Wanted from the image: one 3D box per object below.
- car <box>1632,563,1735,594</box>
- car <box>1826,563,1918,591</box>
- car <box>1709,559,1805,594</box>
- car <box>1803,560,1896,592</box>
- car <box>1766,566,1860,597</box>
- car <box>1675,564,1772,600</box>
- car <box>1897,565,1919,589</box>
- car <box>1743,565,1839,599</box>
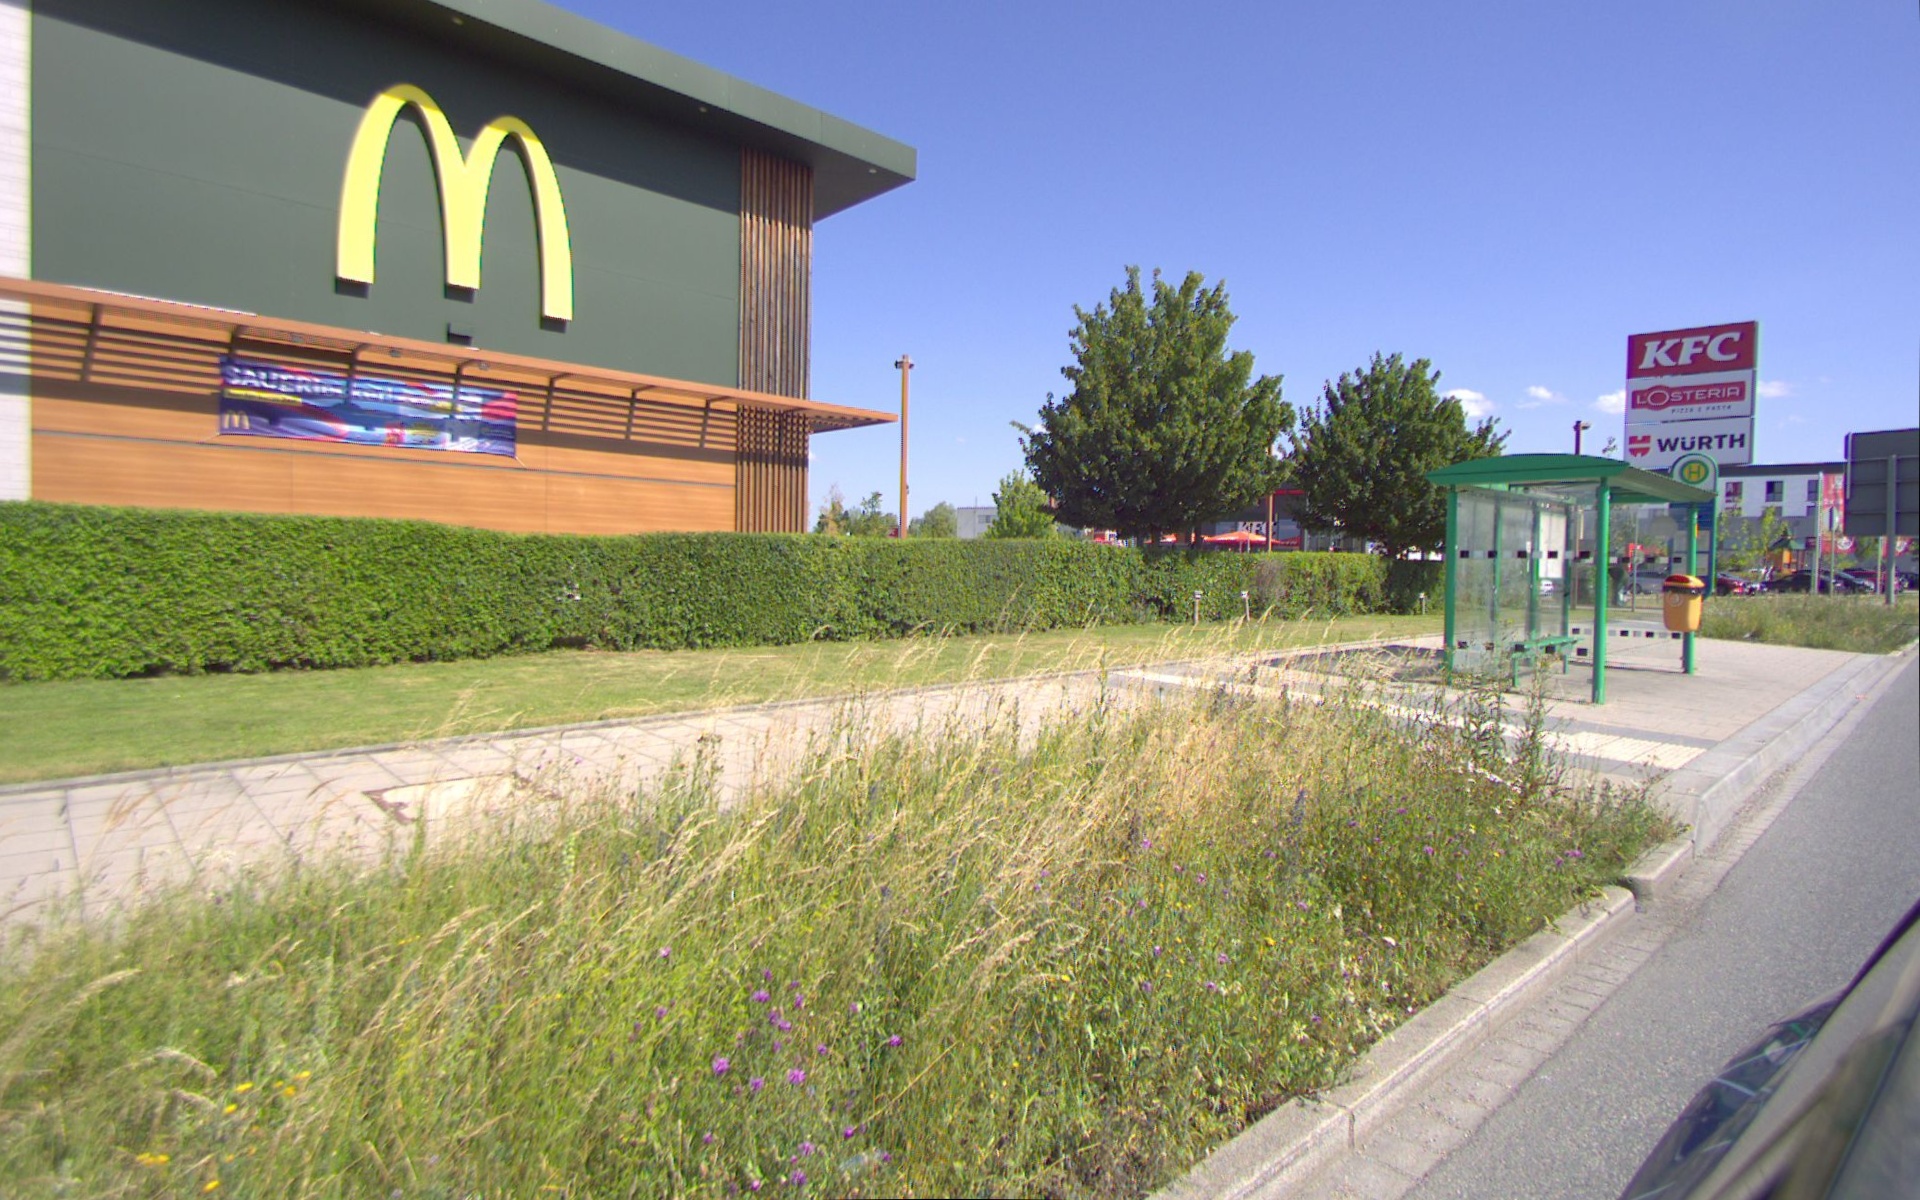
[{"bbox_3d":[41.611,-1.269,58.299,1.897,1.673,4.444,0,2,-36],"label":"car"},{"bbox_3d":[61.323,-1.563,68.142,1.786,1.783,4.195,0,2,-25],"label":"car"},{"bbox_3d":[48.555,-1.476,61.731,1.894,2.038,4.193,0,2,-29],"label":"car"},{"bbox_3d":[58.551,-1.614,66.699,1.895,2.038,4.192,0,2,-30],"label":"car"},{"bbox_3d":[54.281,-1.217,64.469,1.766,1.880,4.196,0,2,-25],"label":"car"},{"bbox_3d":[45.627,-1.107,60.597,1.894,2.038,4.194,0,2,-28],"label":"car"},{"bbox_3d":[67.700,-1.572,70.008,1.721,1.639,3.831,0,2,-29],"label":"car"},{"bbox_3d":[51.814,-1.147,63.198,1.894,2.038,4.194,0,2,-28],"label":"car"}]
